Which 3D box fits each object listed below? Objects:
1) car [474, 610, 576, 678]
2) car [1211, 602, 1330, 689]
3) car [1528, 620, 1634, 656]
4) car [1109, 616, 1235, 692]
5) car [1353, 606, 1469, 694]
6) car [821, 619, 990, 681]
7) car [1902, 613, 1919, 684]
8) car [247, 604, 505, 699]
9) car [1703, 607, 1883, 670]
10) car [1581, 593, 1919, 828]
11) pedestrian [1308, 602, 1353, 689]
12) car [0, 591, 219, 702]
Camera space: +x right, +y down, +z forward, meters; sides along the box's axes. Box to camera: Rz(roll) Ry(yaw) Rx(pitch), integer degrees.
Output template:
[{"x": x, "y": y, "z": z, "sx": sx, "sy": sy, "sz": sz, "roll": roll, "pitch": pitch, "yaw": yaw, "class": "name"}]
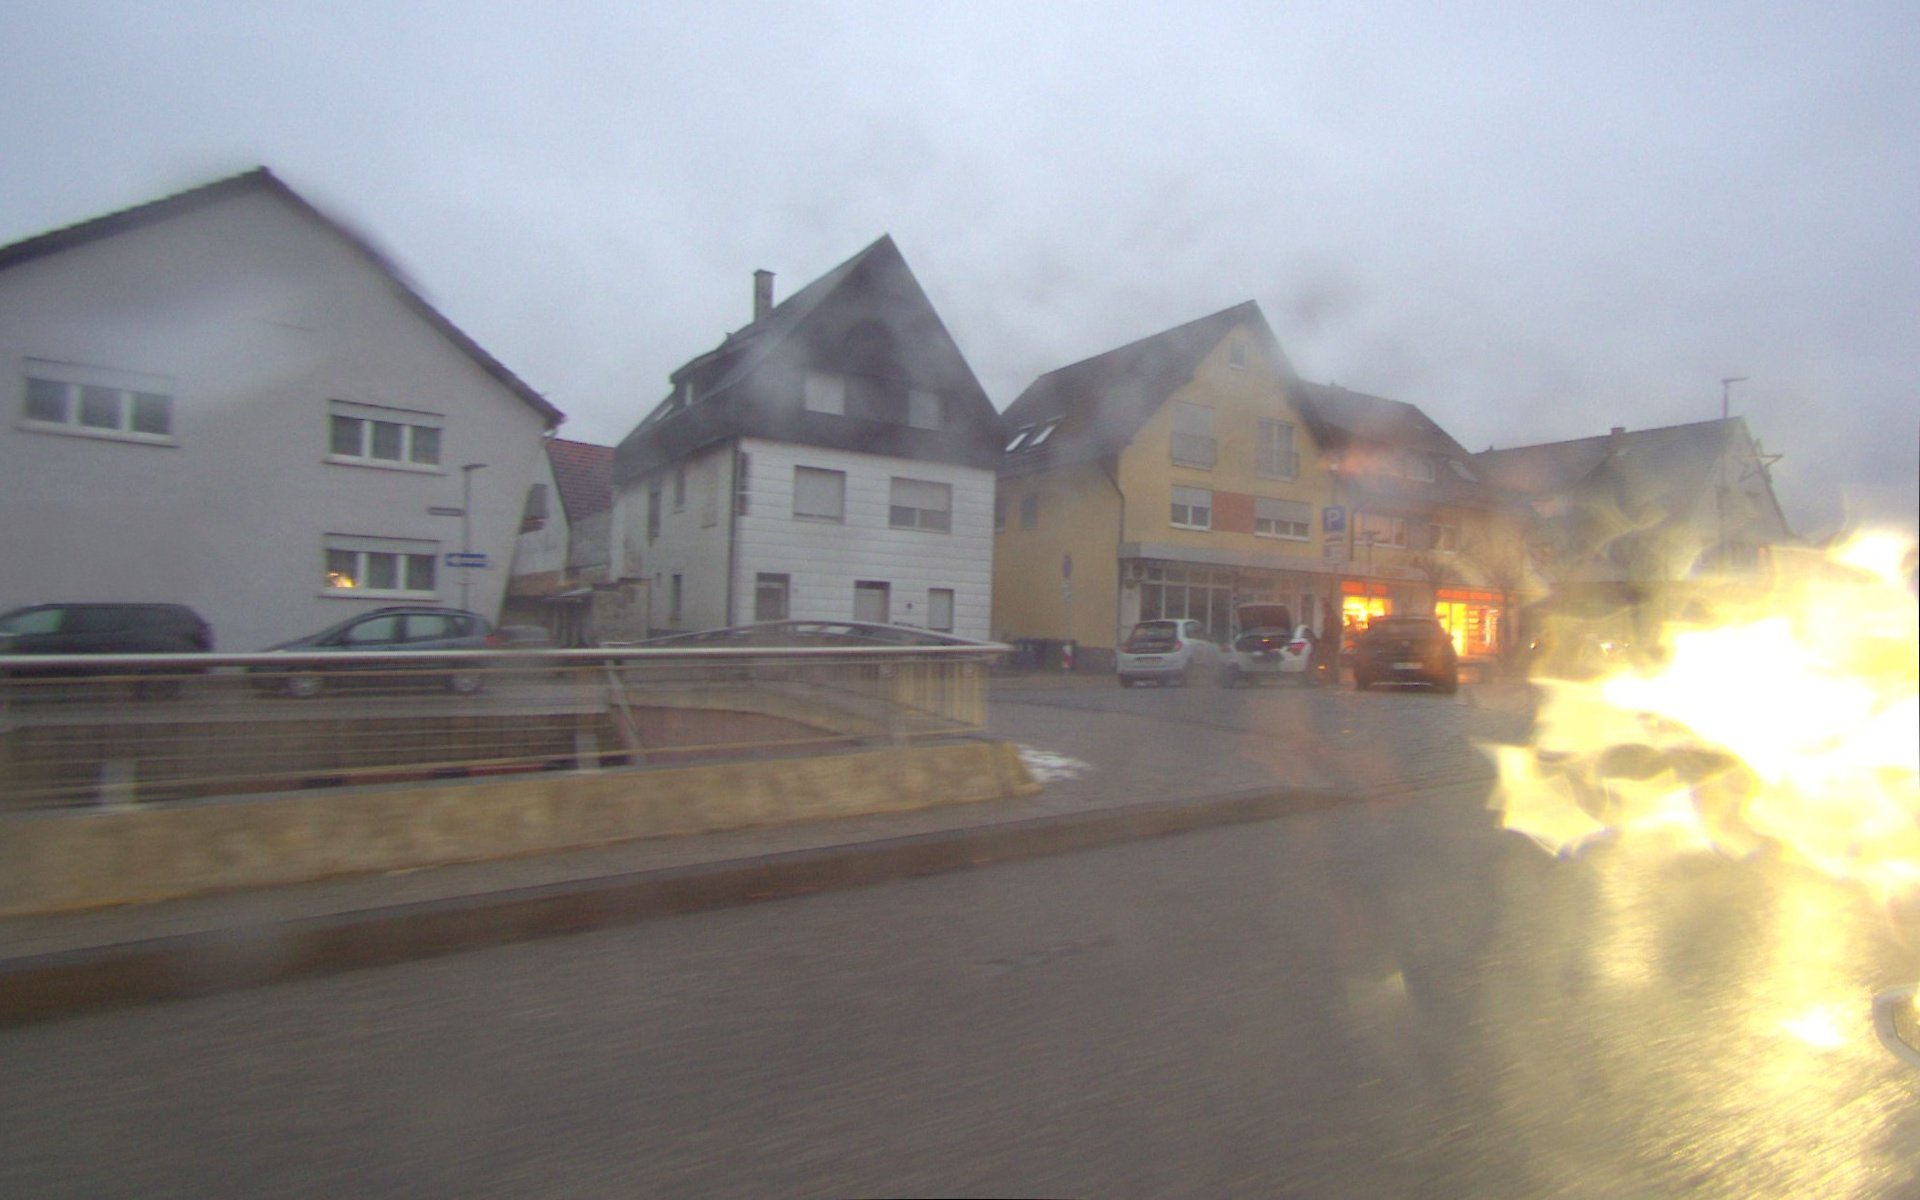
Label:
[{"x": -12.019, "y": 1.244, "z": 27.613, "sx": 1.702, "sy": 1.704, "sz": 3.960, "roll": 4, "pitch": -5, "yaw": -36, "class": "car"}, {"x": 6.739, "y": 0.961, "z": 21.541, "sx": 1.806, "sy": 1.692, "sz": 3.893, "roll": -2, "pitch": -2, "yaw": 26, "class": "car"}, {"x": 27.738, "y": 1.659, "z": 44.970, "sx": 1.689, "sy": 1.440, "sz": 3.825, "roll": 4, "pitch": -2, "yaw": -18, "class": "car"}, {"x": 5.129, "y": 1.244, "z": 23.914, "sx": 1.734, "sy": 1.652, "sz": 3.992, "roll": -2, "pitch": -2, "yaw": 30, "class": "car"}, {"x": 8.876, "y": 0.958, "z": 19.969, "sx": 1.877, "sy": 1.551, "sz": 4.179, "roll": -1, "pitch": -2, "yaw": 23, "class": "car"}, {"x": -1.500, "y": 1.360, "z": 28.261, "sx": 4.374, "sy": 1.520, "sz": 1.901, "roll": 1, "pitch": 2, "yaw": -32, "class": "car"}, {"x": 25.706, "y": 1.273, "z": 25.650, "sx": 1.695, "sy": 1.837, "sz": 4.124, "roll": 2, "pitch": 0, "yaw": 34, "class": "car"}, {"x": -10.990, "y": 0.946, "z": 19.035, "sx": 4.054, "sy": 1.590, "sz": 1.762, "roll": 2, "pitch": 0, "yaw": -35, "class": "car"}, {"x": 29.930, "y": 1.323, "z": 36.349, "sx": 1.964, "sy": 2.040, "sz": 4.891, "roll": 2, "pitch": 0, "yaw": -10, "class": "car"}, {"x": 7.398, "y": 0.806, "z": 8.902, "sx": 3.916, "sy": 1.643, "sz": 1.767, "roll": 1, "pitch": 0, "yaw": -34, "class": "car"}, {"x": 7.572, "y": 0.932, "z": 20.534, "sx": 0.825, "sy": 1.734, "sz": 0.724, "roll": -1, "pitch": -2, "yaw": 21, "class": "pedestrian"}, {"x": -14.619, "y": 0.725, "z": 16.450, "sx": 3.925, "sy": 1.682, "sz": 1.685, "roll": 2, "pitch": 0, "yaw": -38, "class": "car"}]
